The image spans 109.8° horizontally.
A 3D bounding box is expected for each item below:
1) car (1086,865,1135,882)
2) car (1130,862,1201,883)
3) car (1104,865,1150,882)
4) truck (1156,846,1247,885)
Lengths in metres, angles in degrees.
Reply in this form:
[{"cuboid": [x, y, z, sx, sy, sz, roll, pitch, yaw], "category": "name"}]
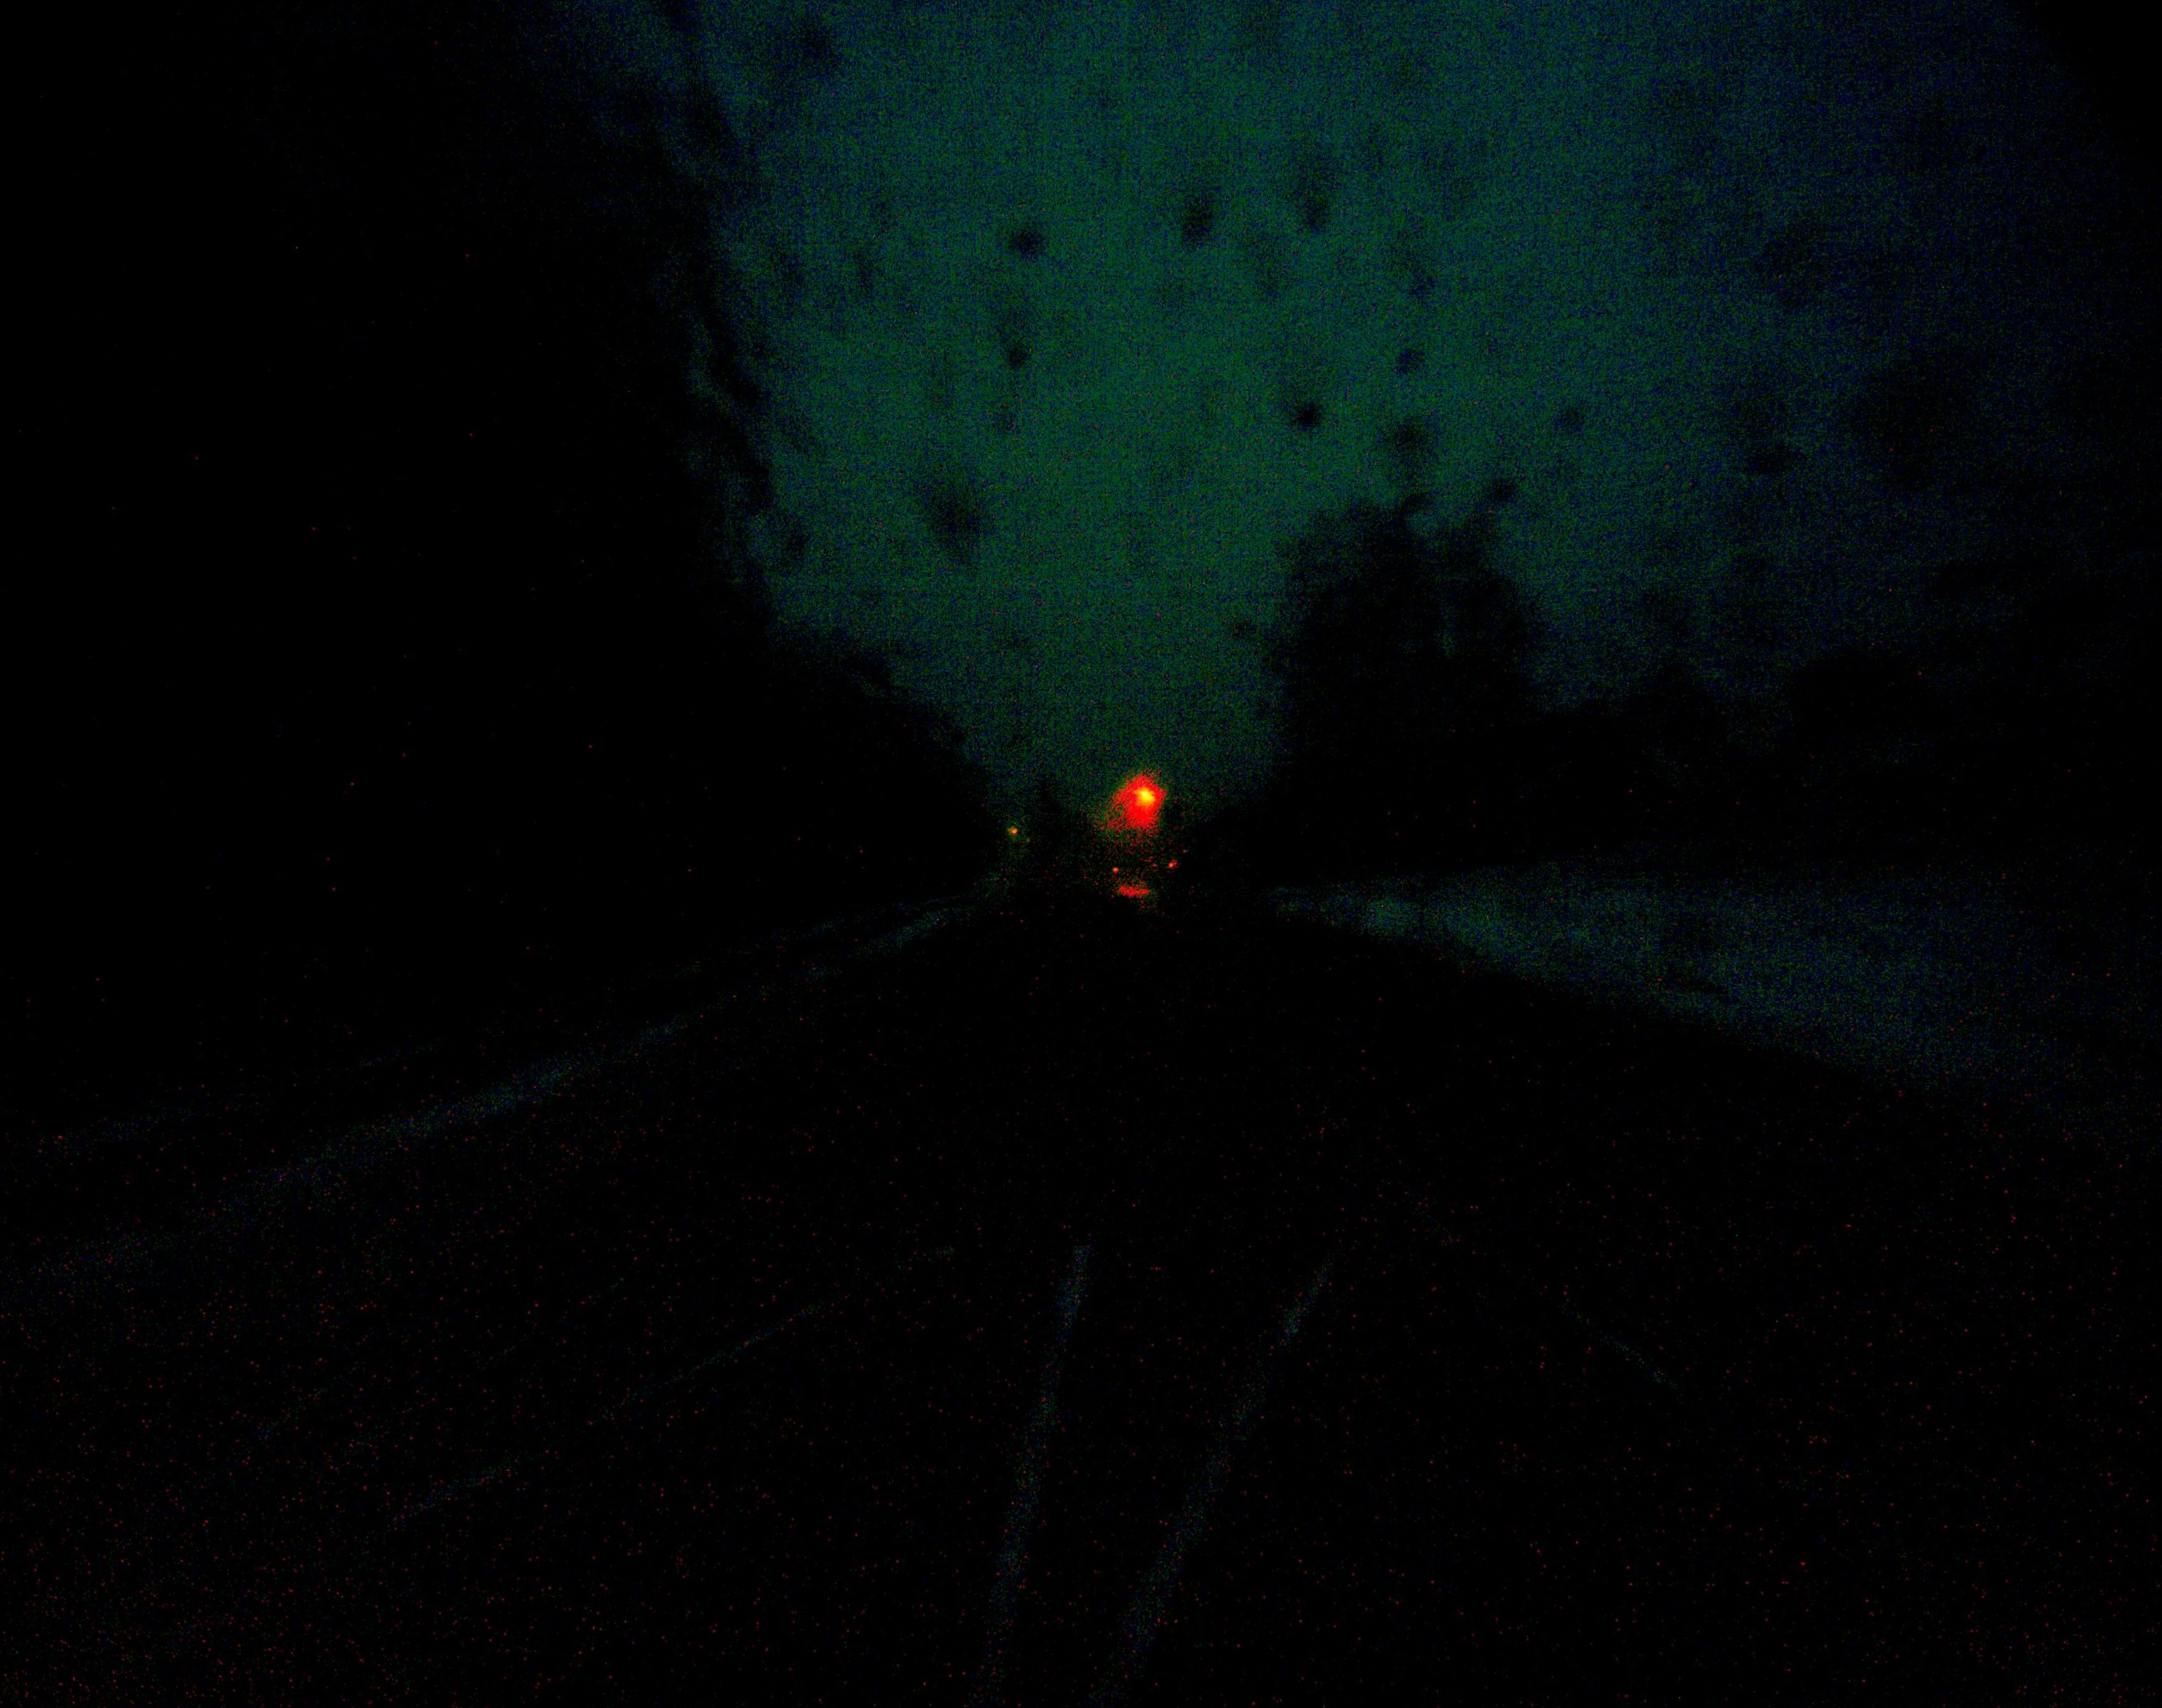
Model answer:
[{"cuboid": [2.977, 2.007, 76.958, 4.547, 1.556, 2.108, 2, -2, -20], "category": "car"}, {"cuboid": [6.432, 1.449, 58.120, 4.905, 1.476, 2.122, 2, -2, -12], "category": "car"}, {"cuboid": [4.271, 1.856, 71.284, 3.870, 1.462, 1.936, 2, -2, -16], "category": "car"}, {"cuboid": [7.650, 0.761, 48.393, 5.281, 2.288, 1.998, 2, -2, -13], "category": "truck"}]
